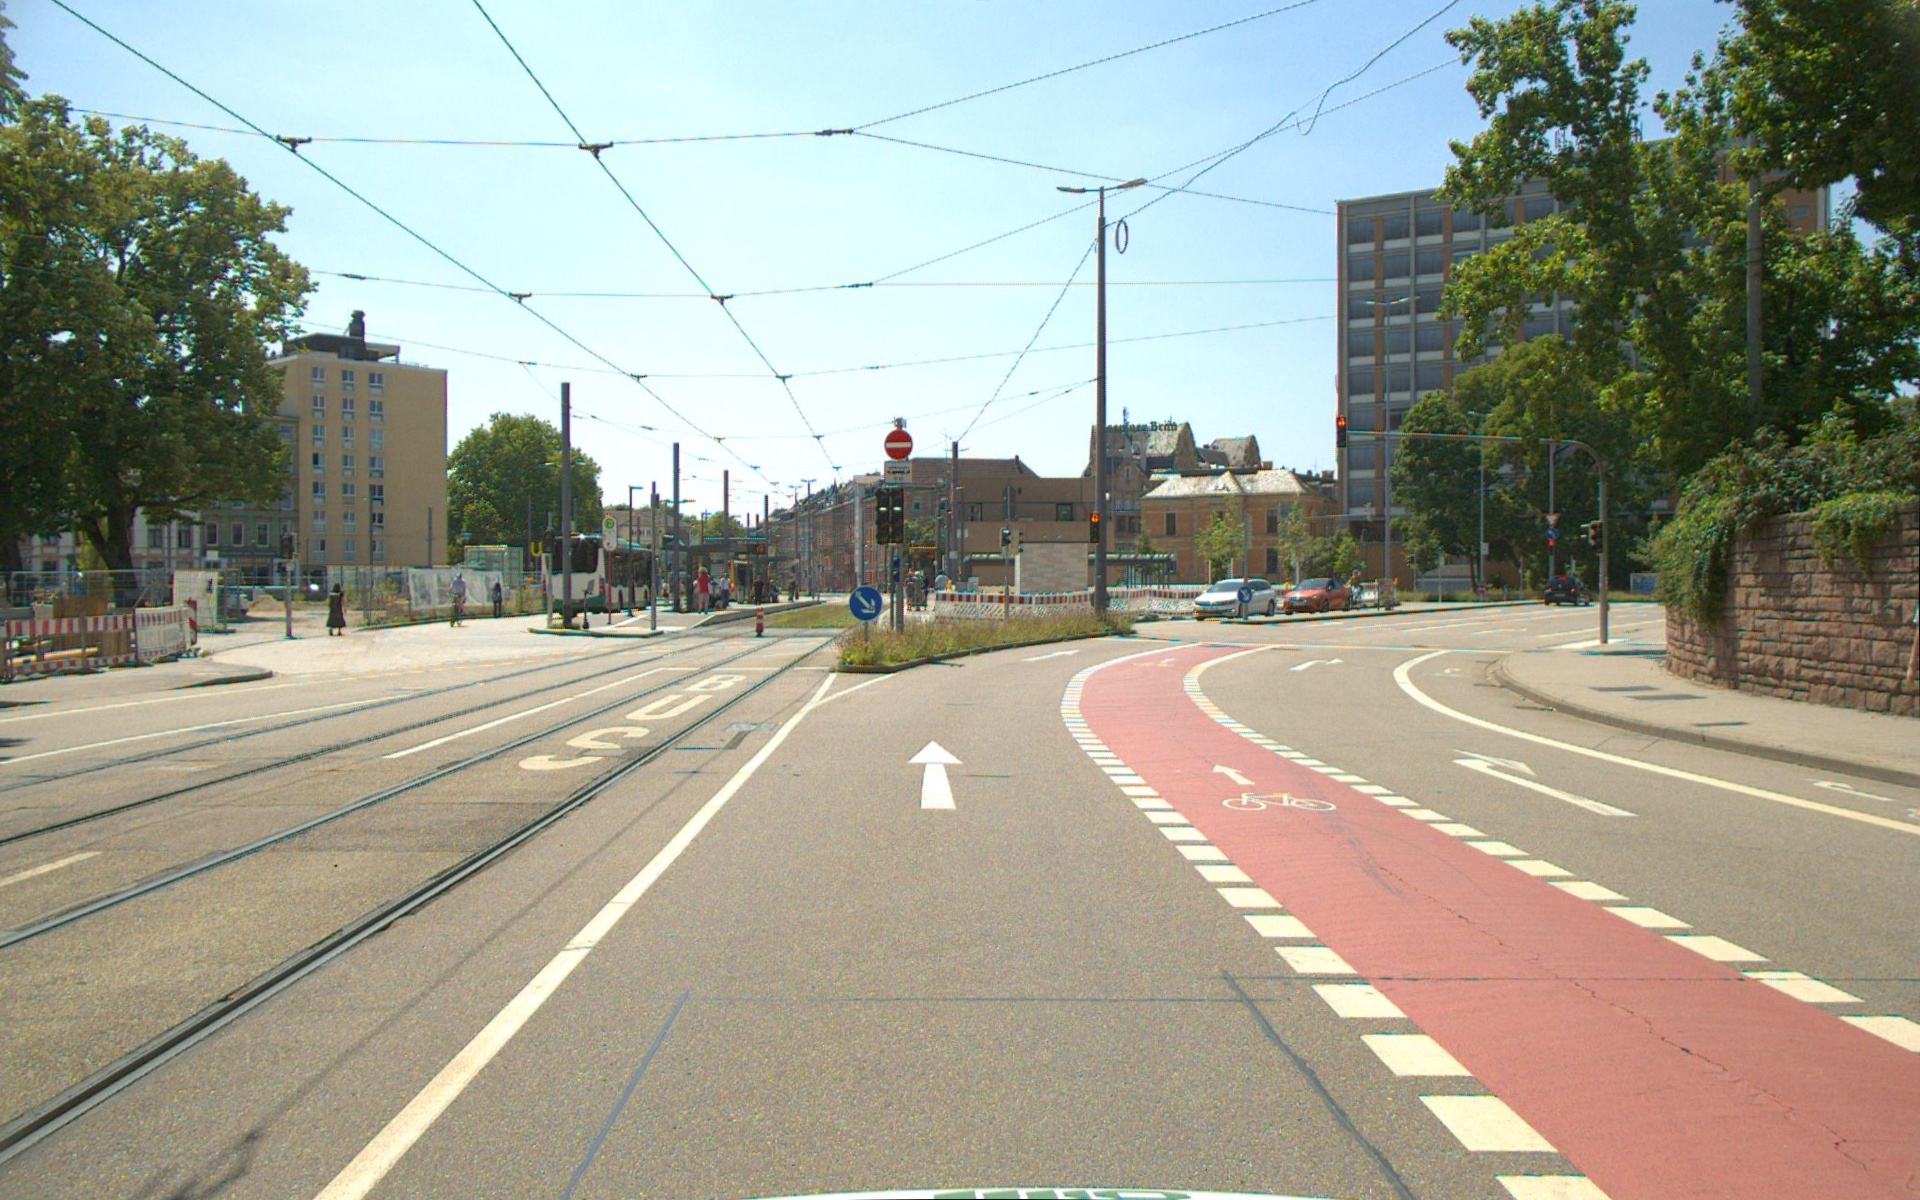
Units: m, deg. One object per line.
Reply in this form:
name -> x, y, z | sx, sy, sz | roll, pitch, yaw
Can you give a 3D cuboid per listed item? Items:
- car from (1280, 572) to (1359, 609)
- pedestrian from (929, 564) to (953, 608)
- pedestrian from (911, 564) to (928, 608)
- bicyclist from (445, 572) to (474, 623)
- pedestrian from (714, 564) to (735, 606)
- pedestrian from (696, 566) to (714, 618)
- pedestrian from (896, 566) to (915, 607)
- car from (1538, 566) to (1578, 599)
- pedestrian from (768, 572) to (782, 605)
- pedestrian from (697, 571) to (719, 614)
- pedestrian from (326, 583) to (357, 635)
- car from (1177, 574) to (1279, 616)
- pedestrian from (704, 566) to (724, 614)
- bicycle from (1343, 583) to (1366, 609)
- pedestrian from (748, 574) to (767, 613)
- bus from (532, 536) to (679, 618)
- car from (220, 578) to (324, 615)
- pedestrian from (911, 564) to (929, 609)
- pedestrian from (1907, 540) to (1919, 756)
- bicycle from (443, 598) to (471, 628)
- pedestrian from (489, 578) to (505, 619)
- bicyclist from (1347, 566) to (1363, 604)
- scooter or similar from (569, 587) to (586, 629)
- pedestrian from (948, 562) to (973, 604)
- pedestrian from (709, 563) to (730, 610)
car -> 14.731, -0.410, 67.645 | 1.701, 1.449, 4.109 | 0, 1, 35
pedestrian -> -0.807, -0.628, 71.825 | 0.761, 1.896, 0.719 | 0, 0, -42
pedestrian -> -1.744, -0.608, 71.307 | 0.645, 1.863, 0.759 | -1, 1, -8
bicyclist -> -17.593, -0.092, 58.147 | 0.805, 1.739, 0.769 | -1, 1, -7
pedestrian -> -11.917, -0.755, 83.776 | 0.880, 2.133, 0.832 | -1, 1, 3
pedestrian -> -9.767, -0.310, 63.336 | 0.660, 1.942, 0.639 | -1, 1, -11
pedestrian -> -2.327, -0.562, 70.567 | 0.714, 1.736, 0.741 | 0, 0, -13
car -> 30.032, -0.882, 82.986 | 1.654, 1.553, 3.689 | 0, 1, 24
pedestrian -> -11.854, -0.739, 105.861 | 0.812, 2.133, 0.902 | -1, 1, -2
pedestrian -> -11.034, -0.327, 72.386 | 0.895, 1.883, 0.656 | -1, 1, -11
pedestrian -> -19.737, 0.268, 52.802 | 0.593, 1.630, 0.826 | 0, 1, 9
car -> 9.877, -0.205, 60.643 | 1.958, 1.463, 4.692 | 0, 1, 33
pedestrian -> -11.101, -0.467, 74.733 | 0.809, 2.133, 0.639 | -1, 1, -13
bicycle -> 18.288, -0.177, 76.731 | 0.391, 1.194, 1.764 | 0, 1, 36
pedestrian -> -11.233, -0.387, 91.755 | 0.880, 2.133, 0.832 | -1, 1, 3
bus -> -15.460, -1.004, 73.884 | 2.949, 3.213, 17.496 | 0, 1, -1
car -> -31.735, -0.166, 76.340 | 4.093, 1.678, 1.853 | 0, 1, 11
pedestrian -> -1.732, -0.578, 72.253 | 0.705, 1.957, 1.073 | 0, 0, -6
pedestrian -> 8.476, 0.410, 13.871 | 0.663, 1.839, 0.748 | -1, 1, 3
bicycle -> -17.667, 0.440, 58.159 | 0.494, 0.930, 2.368 | -1, 2, -6
pedestrian -> -19.820, -0.047, 70.791 | 0.555, 1.735, 0.397 | -1, 1, -9
bicyclist -> 18.346, -0.715, 76.799 | 0.558, 1.749, 0.504 | 0, 1, 40
scooter or similar -> -11.469, 0.225, 49.636 | 0.312, 1.227, 1.247 | -1, 1, -6
pedestrian -> 0.017, -0.760, 73.081 | 0.961, 1.864, 0.631 | -1, 1, -16
pedestrian -> -11.002, -0.622, 75.608 | 0.883, 2.133, 0.829 | -1, 1, -13
